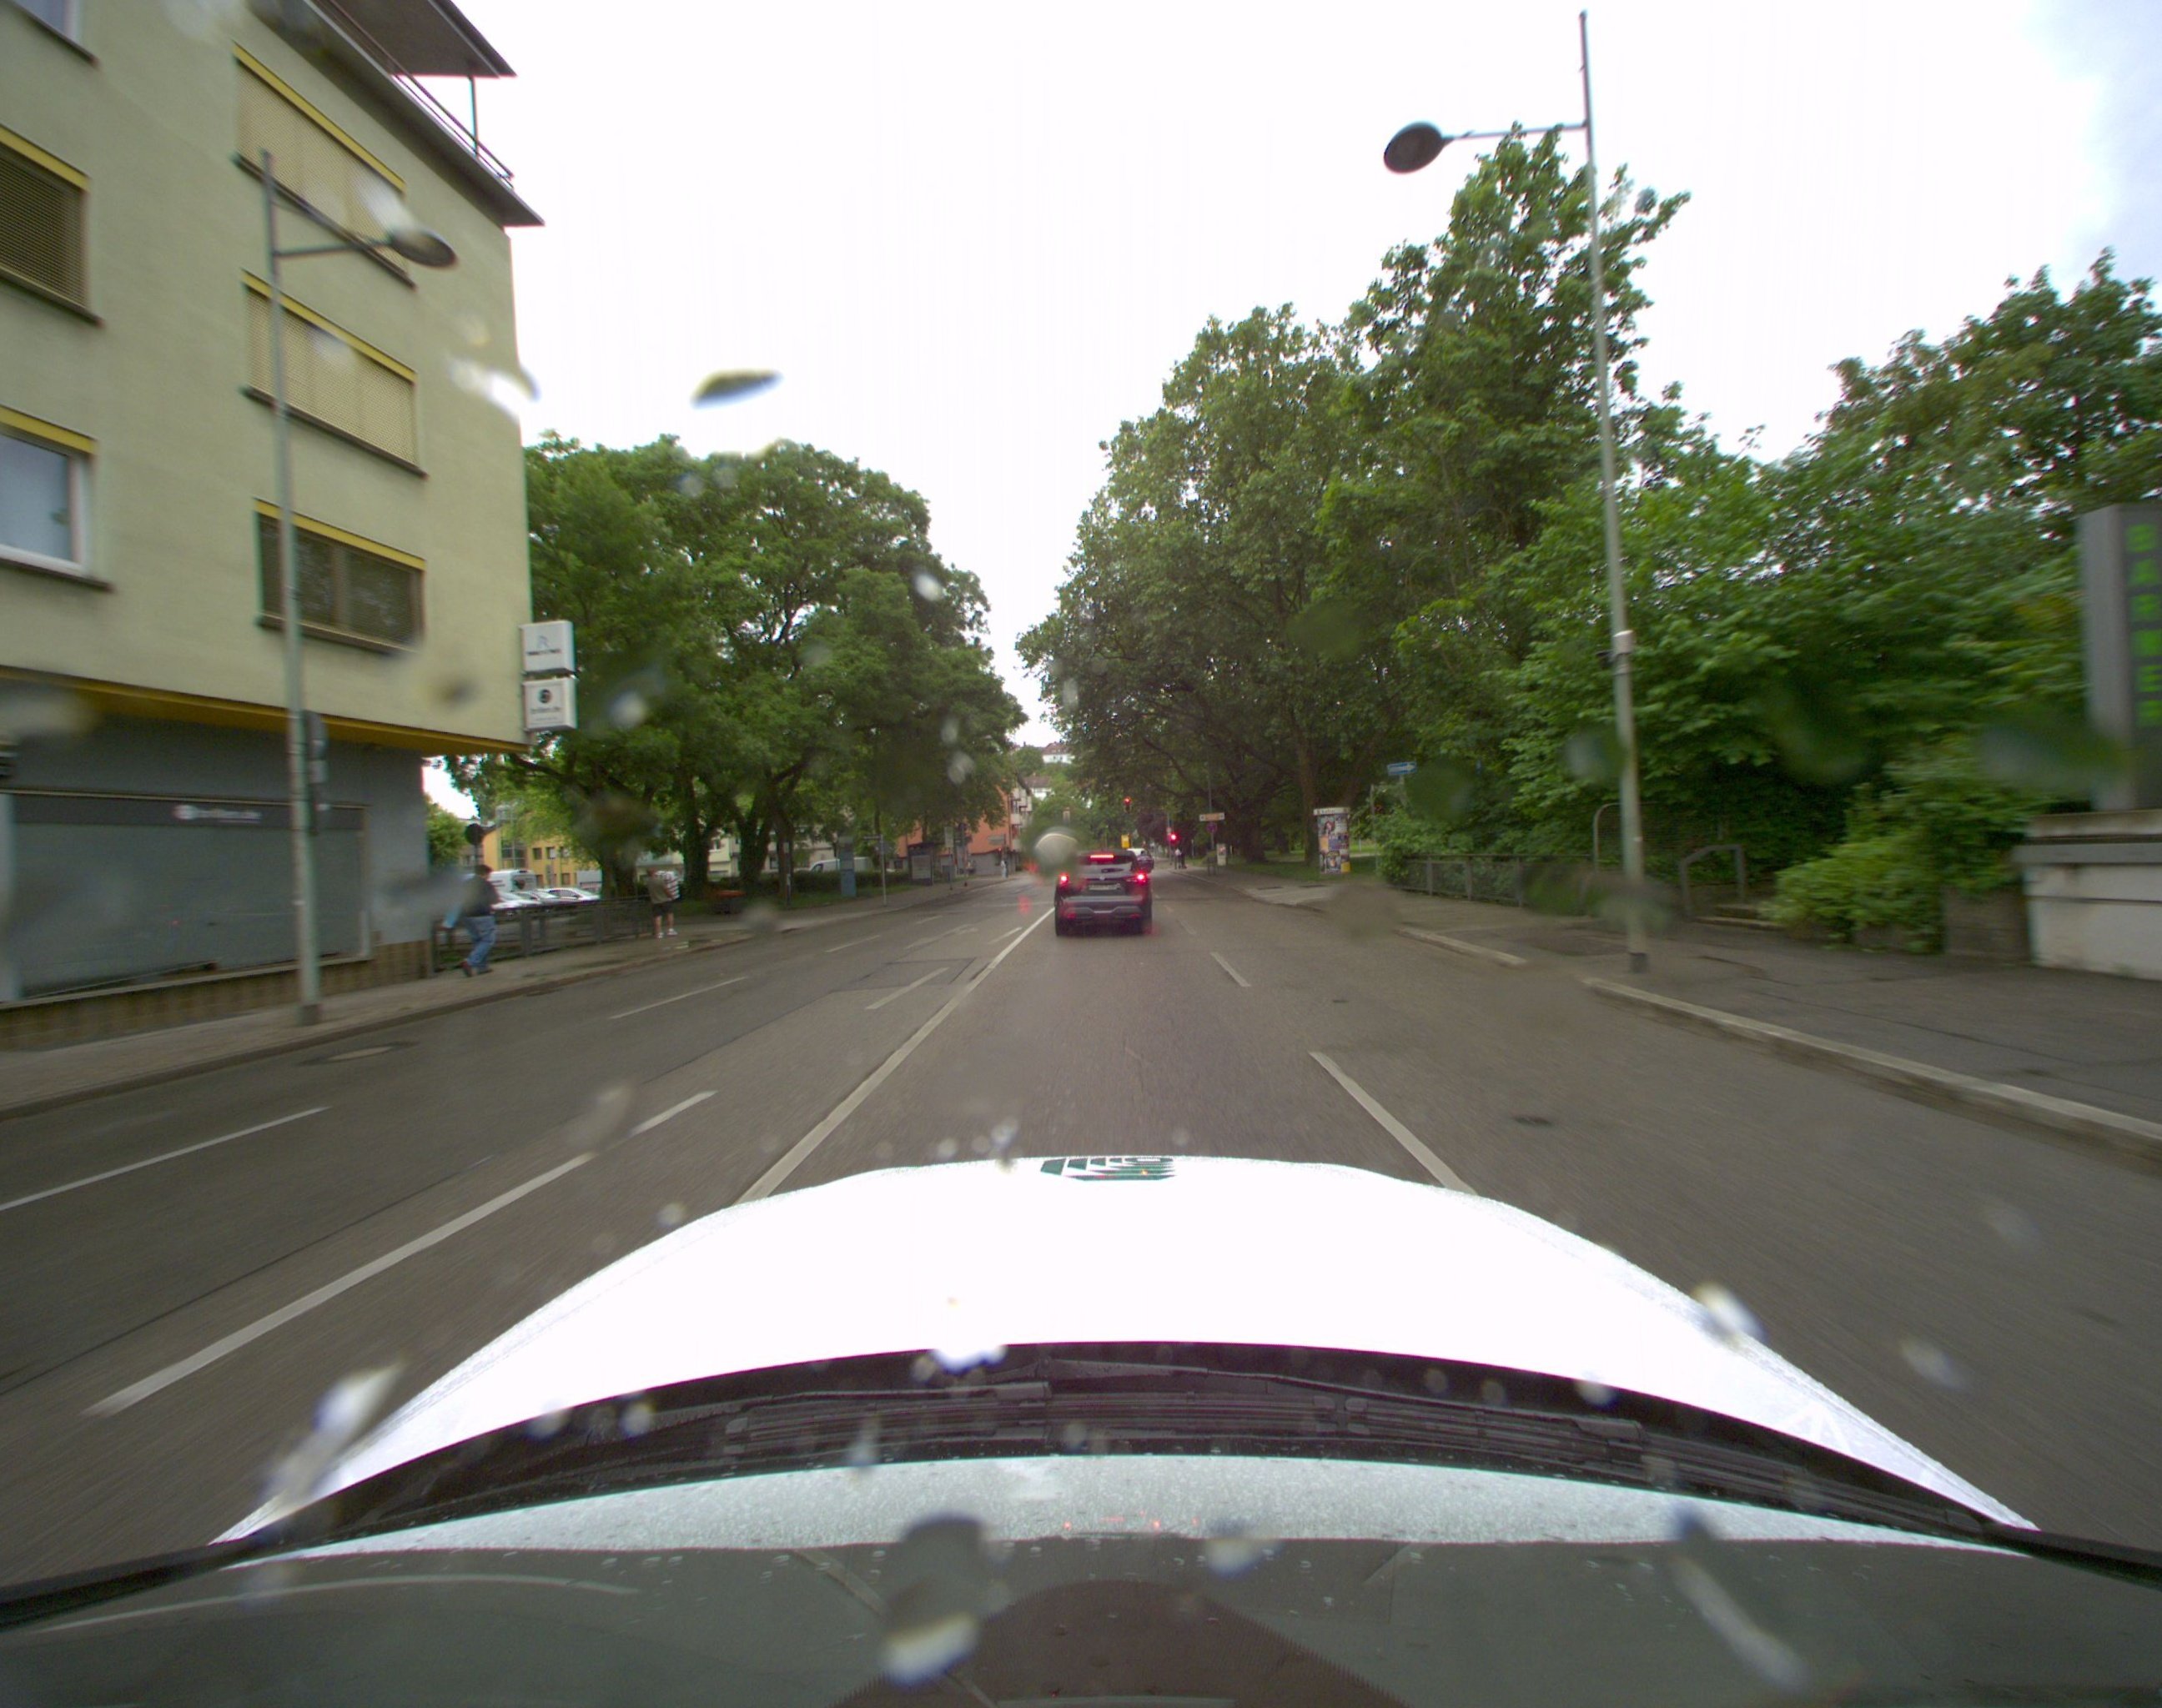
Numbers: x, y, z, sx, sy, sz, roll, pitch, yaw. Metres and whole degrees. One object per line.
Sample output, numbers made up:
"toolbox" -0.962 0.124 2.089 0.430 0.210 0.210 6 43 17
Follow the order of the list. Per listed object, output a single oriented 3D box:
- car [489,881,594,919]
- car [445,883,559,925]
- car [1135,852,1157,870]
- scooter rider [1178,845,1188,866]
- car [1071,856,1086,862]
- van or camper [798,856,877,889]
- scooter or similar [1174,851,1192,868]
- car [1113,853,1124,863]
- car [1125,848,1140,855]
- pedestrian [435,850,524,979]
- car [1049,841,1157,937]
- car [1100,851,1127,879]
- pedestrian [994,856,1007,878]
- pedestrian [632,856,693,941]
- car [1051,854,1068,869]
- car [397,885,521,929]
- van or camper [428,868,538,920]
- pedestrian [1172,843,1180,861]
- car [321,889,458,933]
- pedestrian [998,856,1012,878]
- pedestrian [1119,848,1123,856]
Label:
"car" -27.009 2.289 40.877 3.970 1.625 1.865 -3 0 3
"car" -26.988 2.301 38.027 3.970 1.625 1.865 -3 0 3
"car" 6.464 0.718 80.512 1.983 1.735 4.008 -1 -1 7
"scooter rider" 9.127 0.132 72.835 0.638 1.766 0.738 -3 -2 14
"car" -0.742 1.347 219.620 3.972 1.668 1.702 -1 -1 1
"van or camper" -16.305 1.229 54.730 4.581 1.949 2.000 -3 0 0
"scooter or similar" 9.127 0.495 72.812 1.384 1.446 0.820 -3 -1 14
"car" 6.130 0.602 133.349 1.628 1.532 3.969 -4 0 2
"car" 13.907 -0.638 220.165 4.007 1.668 1.699 0 -1 -4
"pedestrian" -9.773 0.958 13.264 0.746 2.013 0.784 -3 0 9
"car" 0.480 0.630 16.576 1.906 1.680 4.002 -1 0 2
"car" 2.207 0.726 55.531 1.692 1.745 3.642 -4 0 2
"pedestrian" -6.905 1.097 69.809 1.035 1.876 0.656 -3 0 -10
"pedestrian" -9.836 1.029 19.189 0.813 1.924 0.921 -3 0 6
"car" -2.512 0.886 94.958 1.791 1.533 3.865 -4 0 -1
"car" -27.458 2.311 36.020 4.021 1.625 1.865 -3 0 3
"van or camper" -32.108 2.120 43.790 4.309 2.431 2.101 -3 0 3
"pedestrian" 11.259 -0.245 96.363 0.722 2.013 0.852 -3 0 2
"car" -27.997 2.291 33.070 3.970 1.463 1.865 -3 0 3
"pedestrian" -6.590 1.101 70.614 1.035 1.876 0.656 -3 0 -10
"pedestrian" 9.111 -0.433 184.456 0.503 1.673 0.663 -4 0 30
